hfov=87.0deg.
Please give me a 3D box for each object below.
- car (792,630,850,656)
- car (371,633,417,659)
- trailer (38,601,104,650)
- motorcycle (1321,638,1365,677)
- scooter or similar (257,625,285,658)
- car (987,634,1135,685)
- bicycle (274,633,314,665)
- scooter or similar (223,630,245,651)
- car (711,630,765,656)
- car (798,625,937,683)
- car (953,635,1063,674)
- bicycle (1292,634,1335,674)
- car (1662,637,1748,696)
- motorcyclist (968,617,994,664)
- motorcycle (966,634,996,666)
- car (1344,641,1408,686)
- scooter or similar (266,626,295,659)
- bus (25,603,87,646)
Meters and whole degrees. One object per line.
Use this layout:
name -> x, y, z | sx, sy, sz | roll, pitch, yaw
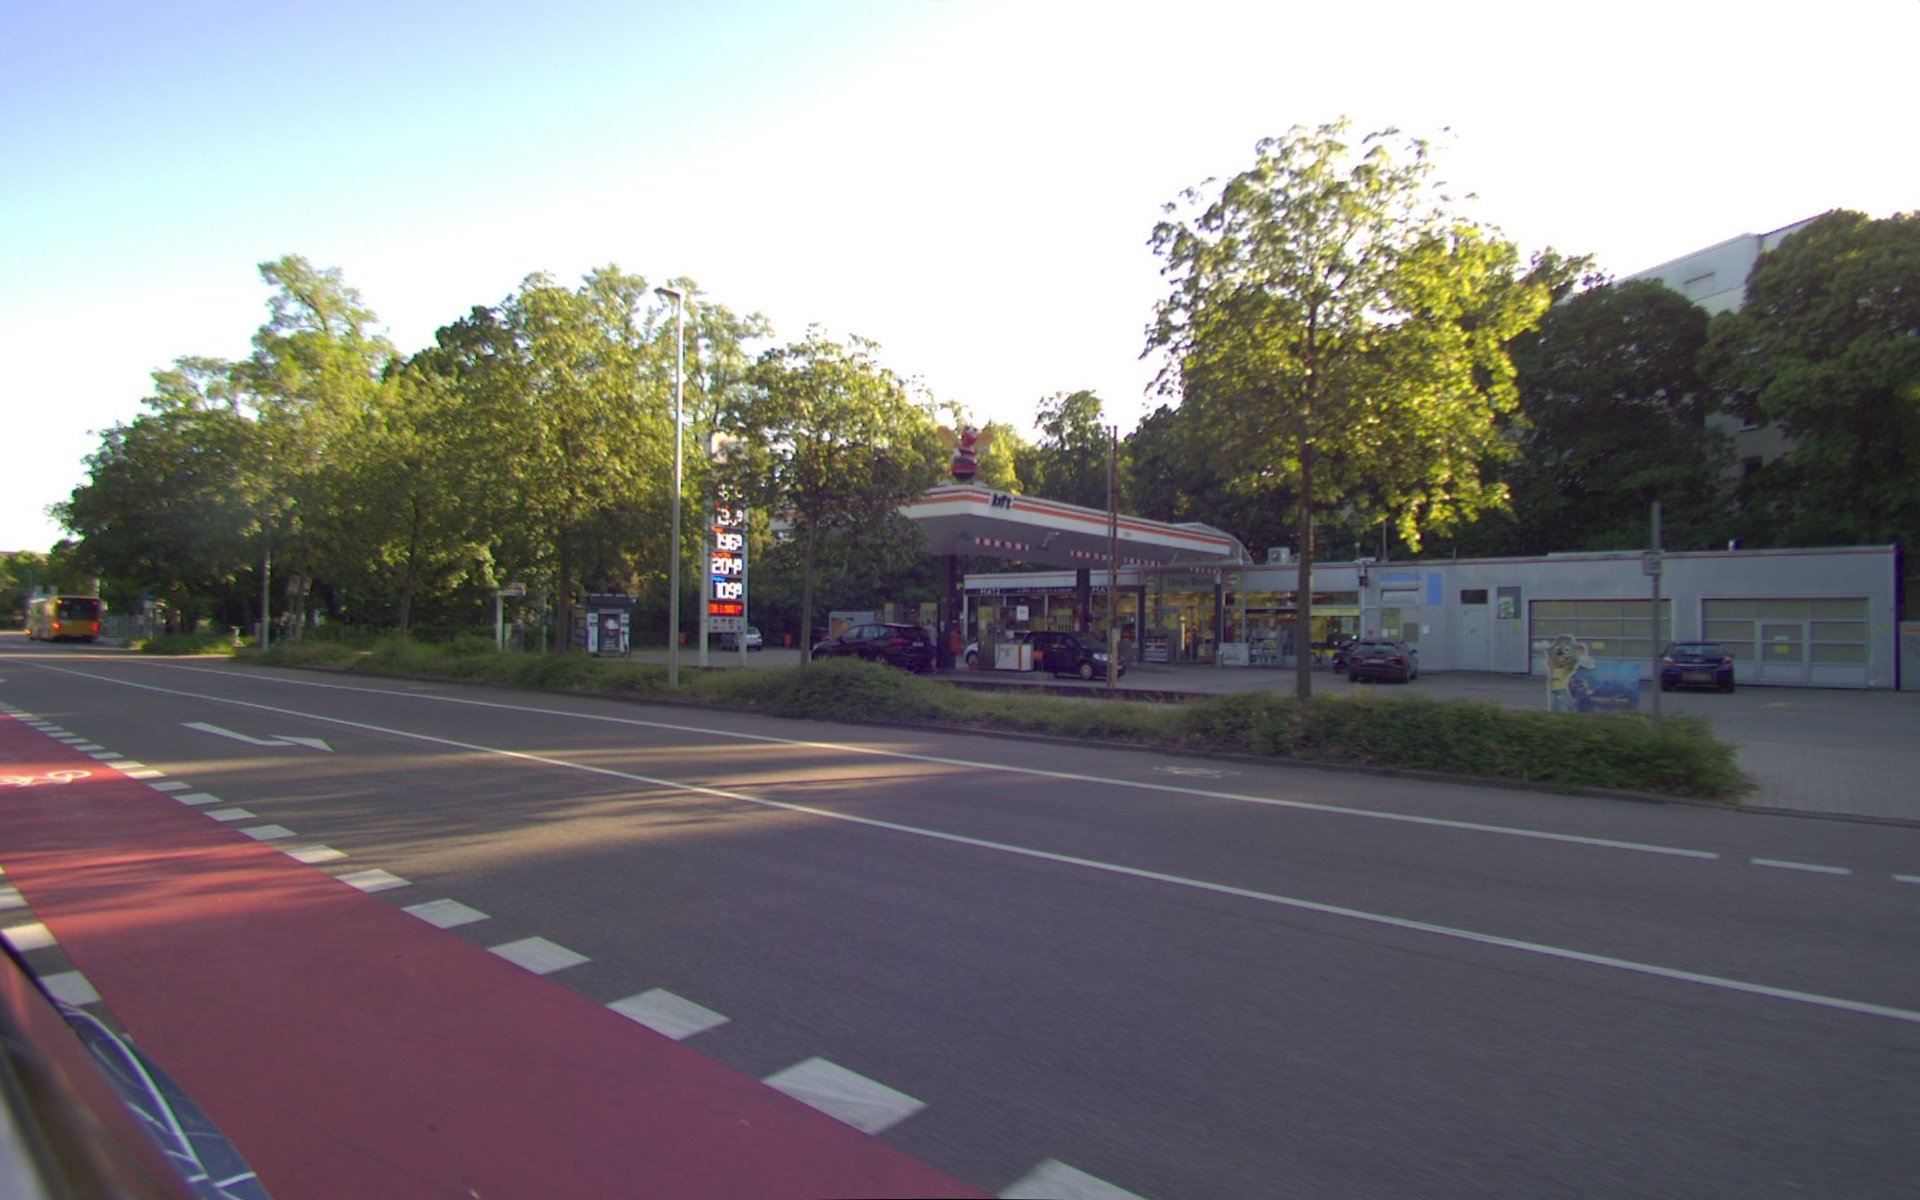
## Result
car -> -8.751, 2.681, 63.493 | 1.967, 1.548, 3.922 | 2, -2, -36
car -> -32.057, 2.593, 57.412 | 1.536, 1.411, 3.501 | 3, -3, -17
trailer -> -65.310, 1.837, 74.282 | 9.363, 3.381, 2.823 | -1, -1, 44
motorcycle -> 14.003, 2.090, 36.949 | 0.927, 1.374, 1.817 | -1, -3, 42
scooter or similar -> -36.955, 2.237, 54.276 | 1.740, 1.730, 0.819 | -2, -3, 42
car -> 3.165, 1.859, 32.335 | 4.574, 1.509, 1.693 | -1, -3, 40
bicycle -> -27.265, 1.998, 41.410 | 2.155, 1.259, 0.648 | -1, -3, 36
scooter or similar -> -46.555, 2.582, 64.907 | 1.570, 1.320, 0.819 | -1, -3, 42
car -> -13.401, 2.564, 60.886 | 1.966, 1.548, 4.033 | 2, -2, -30
car -> -2.985, 1.681, 32.297 | 4.446, 1.704, 1.695 | -1, -3, 37
car -> 1.822, 2.056, 38.911 | 4.057, 1.386, 1.693 | -1, -3, 40
bicycle -> 13.458, 2.050, 38.542 | 0.927, 1.488, 1.817 | -1, -3, 42
car -> 21.702, 1.892, 29.567 | 1.895, 1.567, 3.951 | -1, -3, 36
motorcyclist -> 0.998, 1.911, 48.143 | 1.107, 2.199, 1.017 | 1, -2, -5
motorcycle -> 0.979, 2.362, 48.246 | 1.117, 1.462, 2.509 | 1, -2, -5
car -> 13.806, 2.058, 33.485 | 1.707, 1.364, 3.601 | 0, -2, 26
scooter or similar -> -35.539, 2.213, 52.945 | 1.740, 1.730, 0.819 | -2, -3, 42
bus -> -71.871, 1.988, 80.420 | 8.599, 3.221, 2.809 | -1, -3, 43
